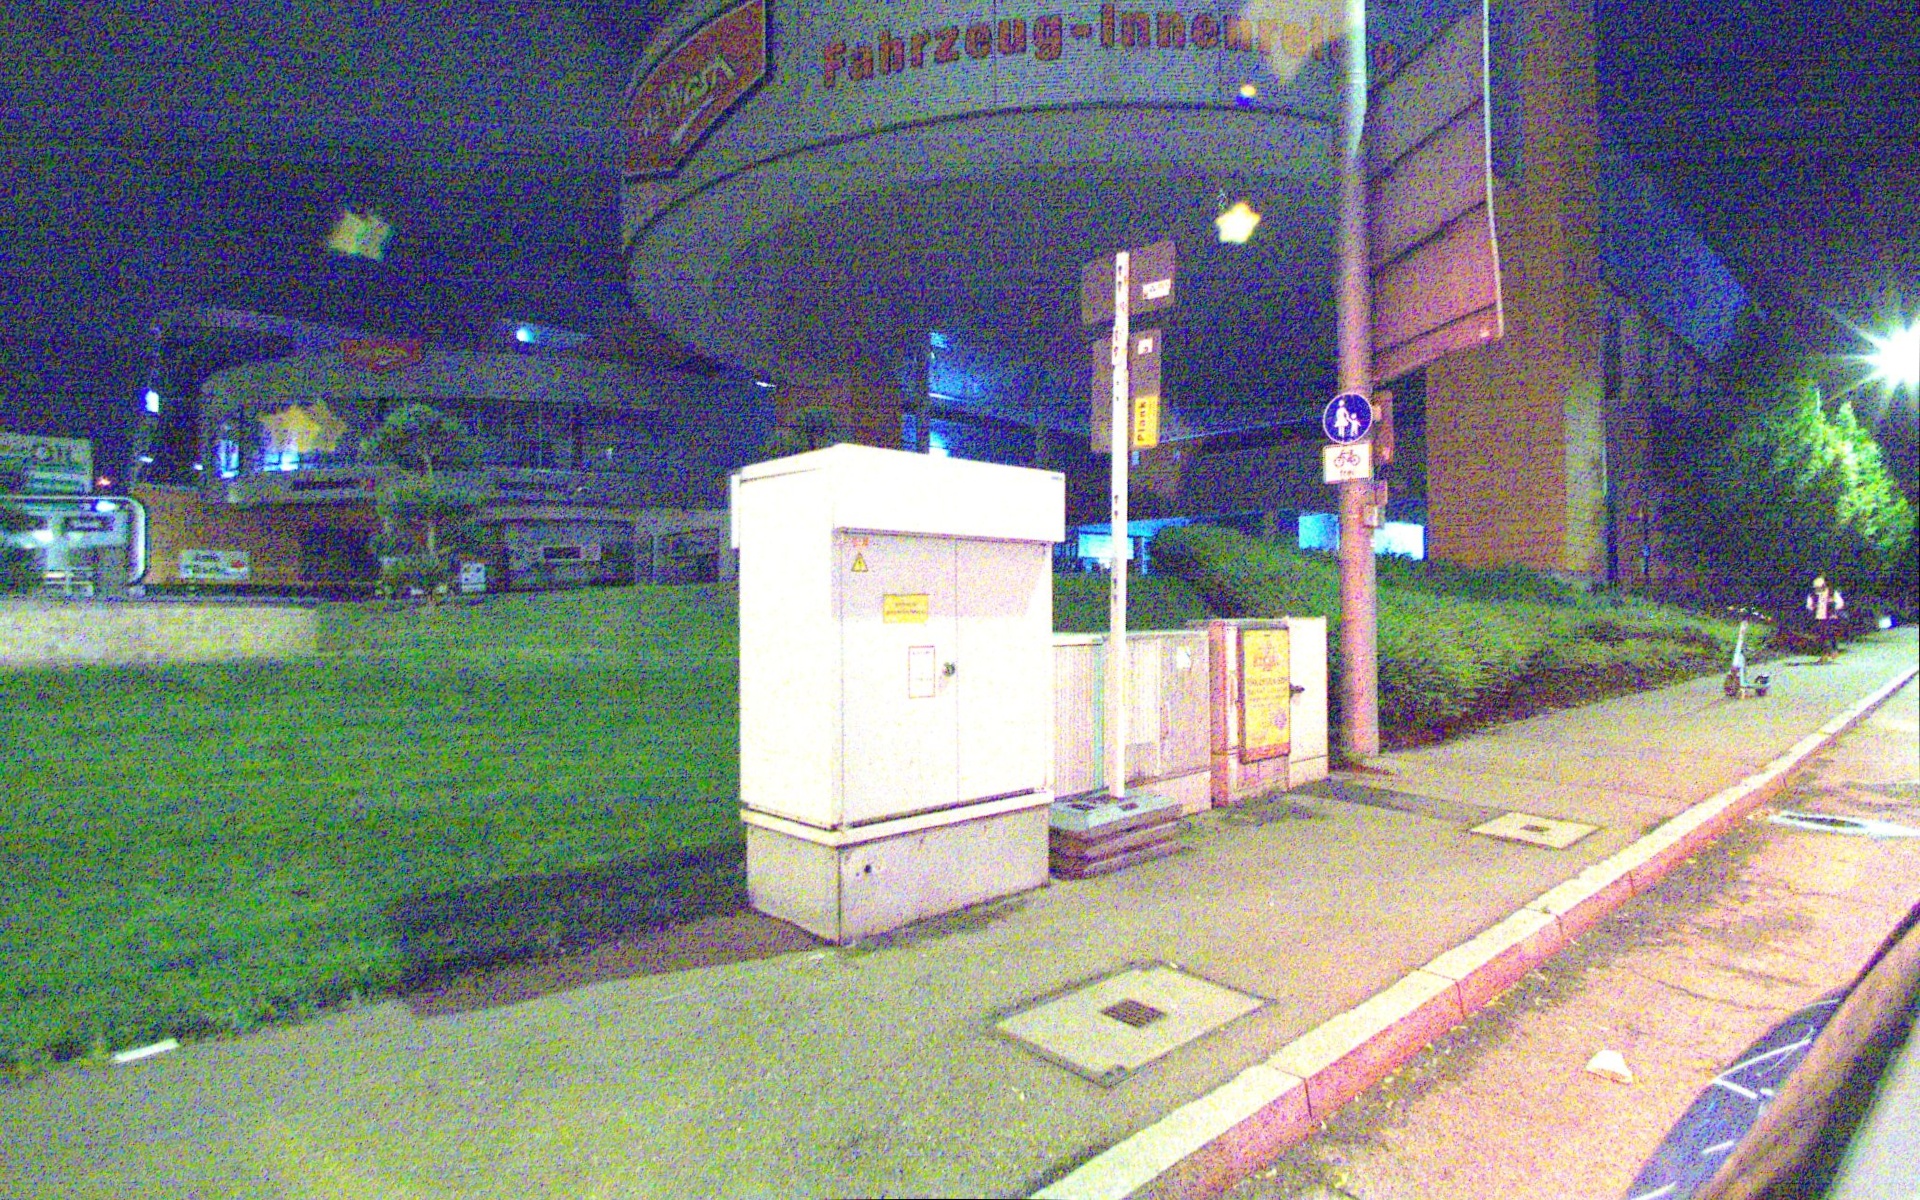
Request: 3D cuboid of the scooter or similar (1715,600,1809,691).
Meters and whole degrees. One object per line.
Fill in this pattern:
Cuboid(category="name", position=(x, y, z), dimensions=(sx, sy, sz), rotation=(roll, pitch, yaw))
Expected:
Cuboid(category="scooter or similar", position=(11.034, 0.622, 13.926), dimensions=(1.111, 1.217, 0.470), rotation=(1, -1, -17))

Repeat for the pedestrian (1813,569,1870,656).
Cuboid(category="pedestrian", position=(19.715, 0.257, 22.634), dimensions=(1.016, 1.888, 0.819), rotation=(0, 0, -41))
